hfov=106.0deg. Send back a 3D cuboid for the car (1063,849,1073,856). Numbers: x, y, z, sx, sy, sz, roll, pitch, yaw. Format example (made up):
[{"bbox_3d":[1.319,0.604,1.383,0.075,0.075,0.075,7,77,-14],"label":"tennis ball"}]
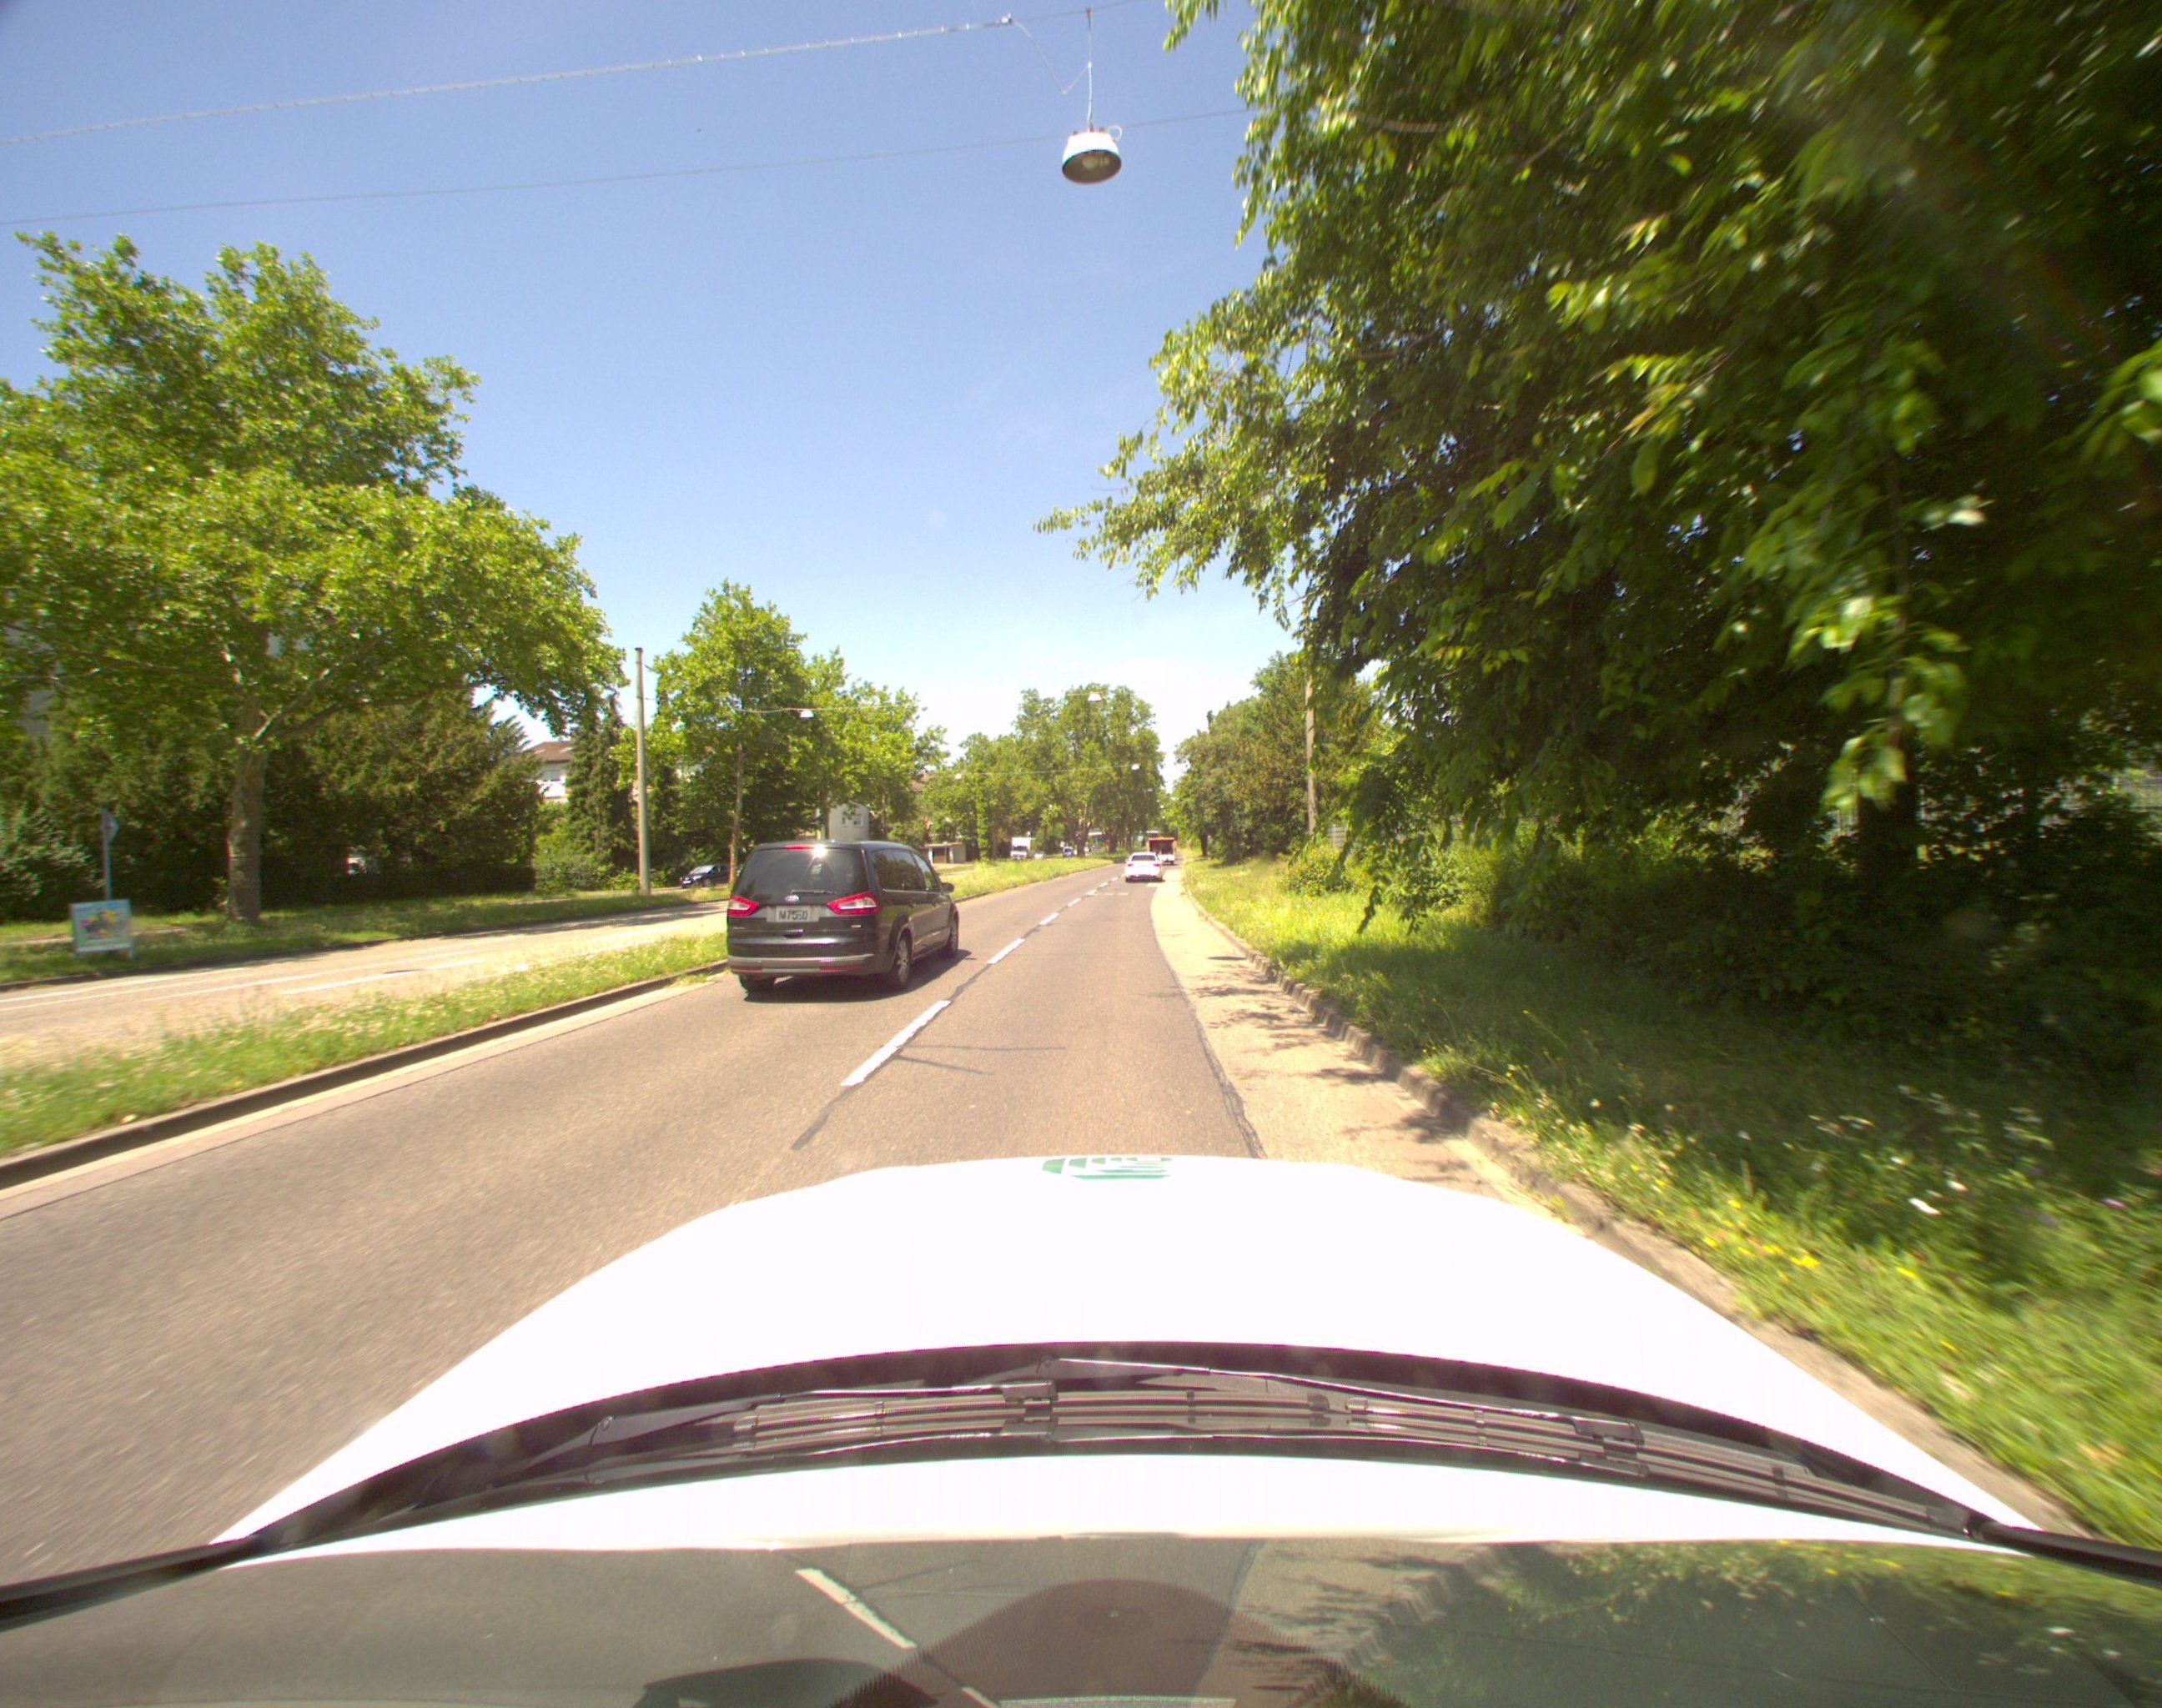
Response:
[{"bbox_3d":[-2.444,-0.285,147.544,1.766,1.332,3.658,-1,0,-2],"label":"car"}]

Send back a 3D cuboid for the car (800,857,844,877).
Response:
[{"bbox_3d":[-21.612,1.057,68.194,1.871,1.474,4.009,-2,0,8],"label":"car"}]

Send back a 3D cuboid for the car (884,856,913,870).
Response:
[{"bbox_3d":[-18.798,0.911,84.049,1.684,1.284,3.811,-2,0,7],"label":"car"}]

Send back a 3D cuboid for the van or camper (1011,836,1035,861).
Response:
[{"bbox_3d":[-8.330,-0.787,117.638,2.650,3.331,5.505,-2,0,3],"label":"van or camper"}]

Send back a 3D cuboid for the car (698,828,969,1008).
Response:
[{"bbox_3d":[-2.799,0.617,10.462,1.847,1.755,4.651,-2,1,2],"label":"car"}]

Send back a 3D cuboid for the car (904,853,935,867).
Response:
[{"bbox_3d":[-17.767,0.626,89.698,1.816,1.390,3.960,-2,0,12],"label":"car"}]

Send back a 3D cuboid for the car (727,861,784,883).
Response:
[{"bbox_3d":[-23.246,1.253,58.315,1.869,1.376,4.014,-2,0,12],"label":"car"}]

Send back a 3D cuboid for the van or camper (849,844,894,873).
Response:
[{"bbox_3d":[-19.892,0.355,77.593,2.170,2.587,5.322,-2,0,9],"label":"van or camper"}]

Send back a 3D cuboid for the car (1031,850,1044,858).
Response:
[{"bbox_3d":[-7.036,0.011,132.866,1.909,1.210,4.332,-2,0,-1],"label":"car"}]

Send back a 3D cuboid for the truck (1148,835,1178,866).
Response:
[{"bbox_3d":[7.311,-0.388,73.023,2.499,2.559,7.615,-1,1,5],"label":"truck"}]

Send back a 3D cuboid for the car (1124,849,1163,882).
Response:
[{"bbox_3d":[3.088,0.513,39.631,1.753,1.445,3.623,-1,1,6],"label":"car"}]

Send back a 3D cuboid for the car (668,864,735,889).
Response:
[{"bbox_3d":[-24.472,1.416,52.687,1.870,1.393,4.011,-2,1,10],"label":"car"}]
